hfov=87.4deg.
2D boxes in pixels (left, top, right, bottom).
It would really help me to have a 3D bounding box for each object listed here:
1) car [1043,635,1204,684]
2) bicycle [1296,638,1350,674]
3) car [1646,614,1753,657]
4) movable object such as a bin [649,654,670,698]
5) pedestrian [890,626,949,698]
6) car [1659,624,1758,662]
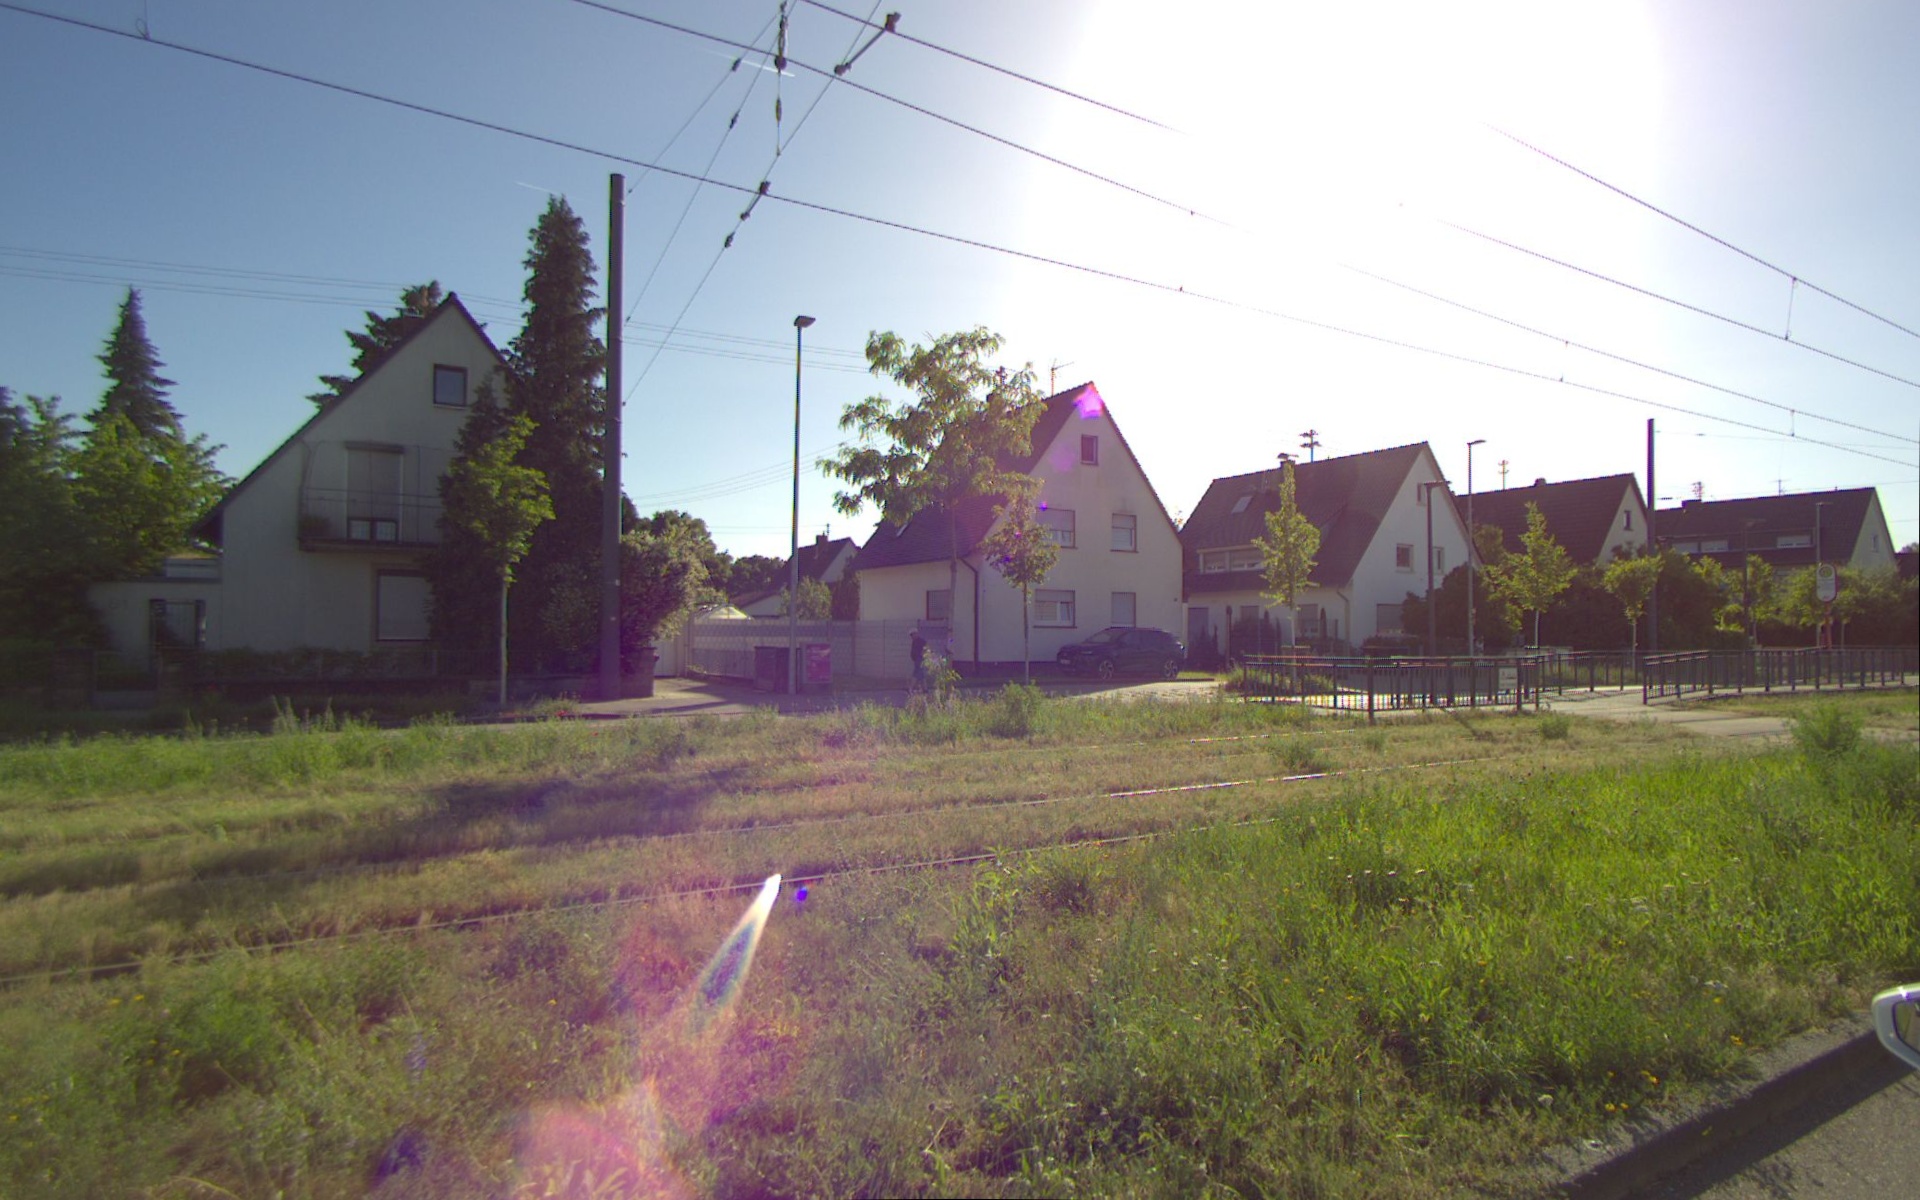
[{"bbox_3d":[5.312,1.876,32.329,5.102,1.469,1.925,2,-2,-31],"label":"car"},{"bbox_3d":[14.310,2.205,39.672,0.698,1.383,1.975,2,-2,-36],"label":"bicycle"},{"bbox_3d":[37.052,1.775,50.375,1.915,1.996,3.957,2,-1,-37],"label":"car"},{"bbox_3d":[-6.770,1.713,22.659,0.347,0.982,0.324,2,-1,-34],"label":"movable object such as a bin"},{"bbox_3d":[-0.974,1.469,23.976,1.073,1.662,0.960,2,-2,-30],"label":"pedestrian"},{"bbox_3d":[39.051,2.228,52.443,1.783,1.830,3.816,2,-1,-37],"label":"car"}]
